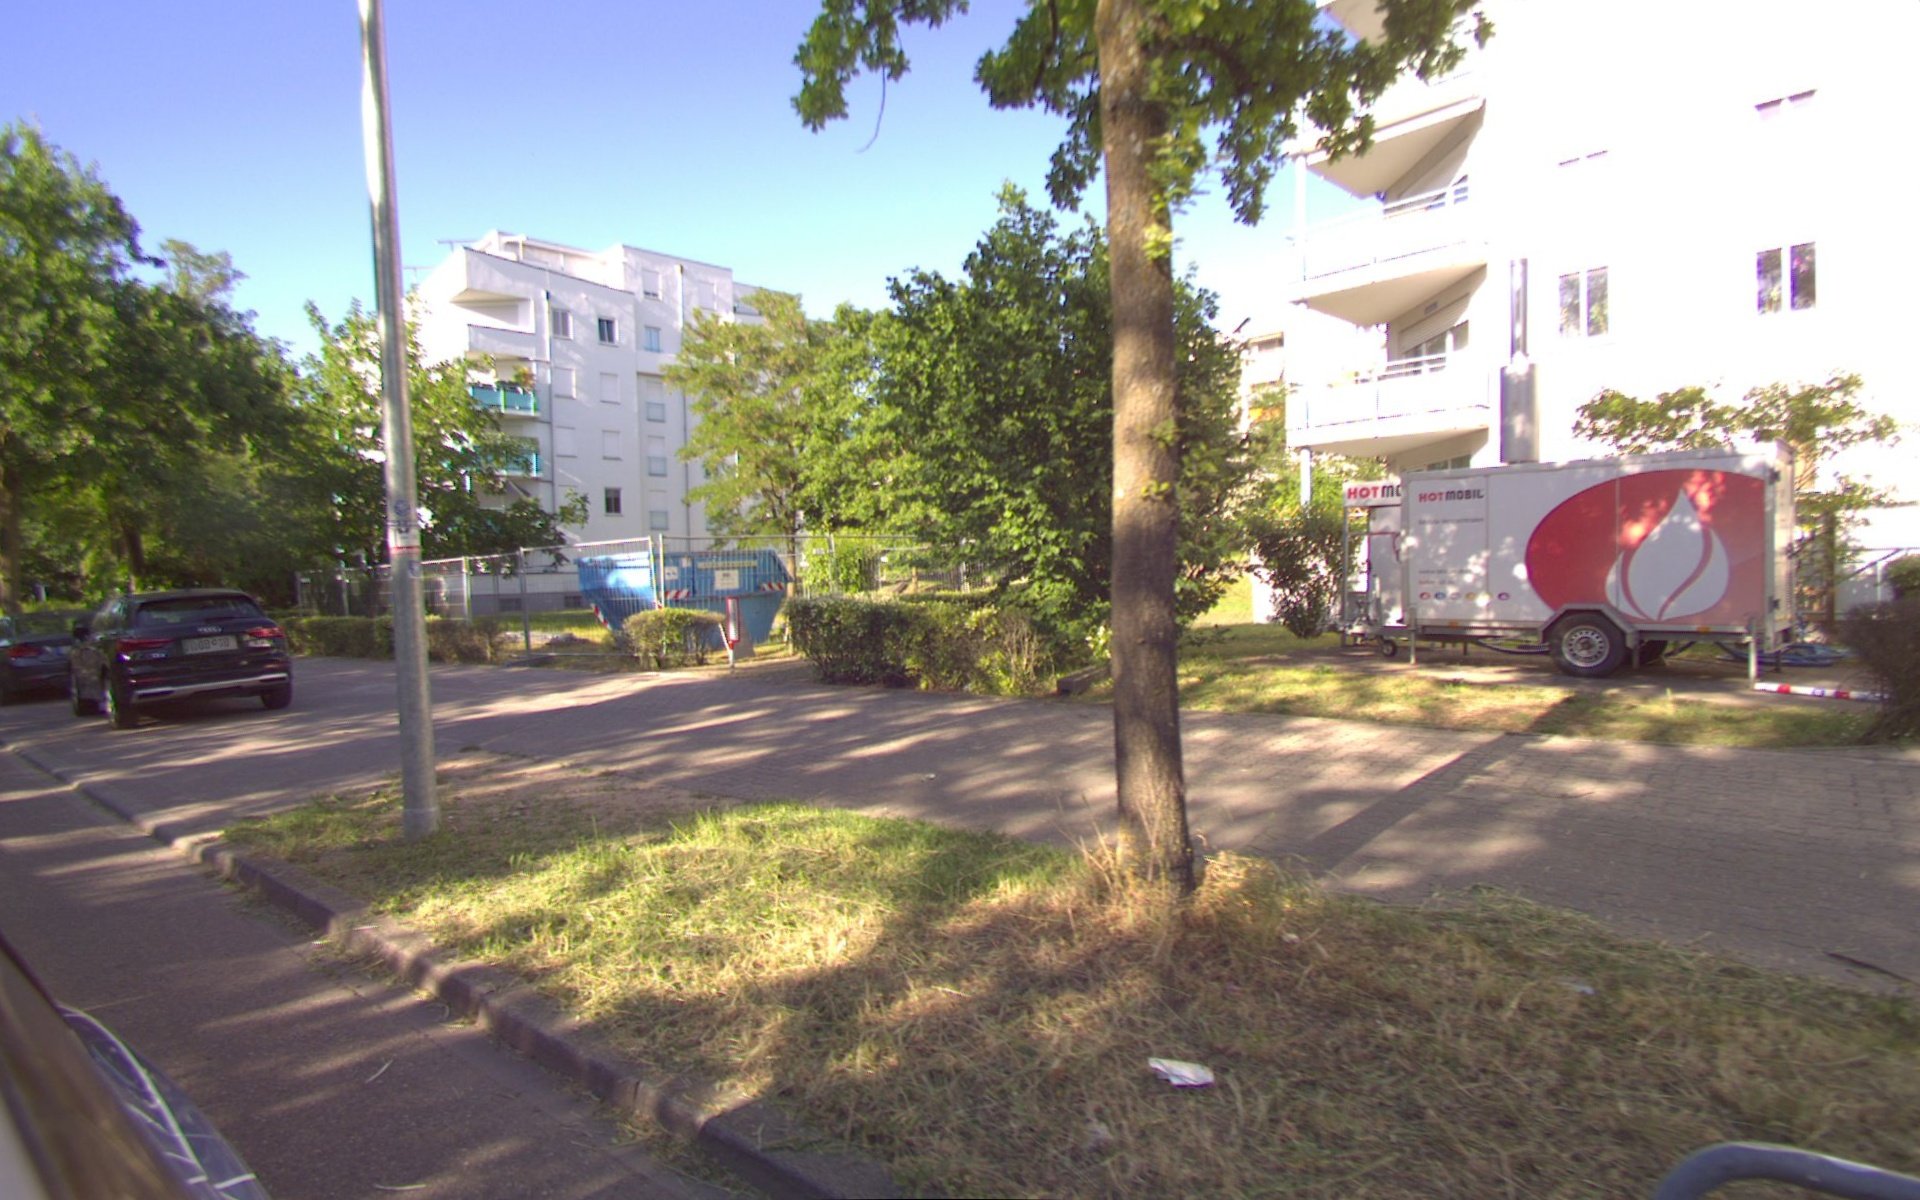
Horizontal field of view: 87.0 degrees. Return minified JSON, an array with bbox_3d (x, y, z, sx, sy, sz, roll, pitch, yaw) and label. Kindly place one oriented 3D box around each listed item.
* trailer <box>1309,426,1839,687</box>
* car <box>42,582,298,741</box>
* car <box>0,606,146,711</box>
[{"bbox_3d":[6.146,-0.388,10.488,4.348,2.135,1.843,-1,3,45],"label":"trailer"},{"bbox_3d":[-10.296,0.695,13.076,4.218,1.633,1.758,-1,3,41],"label":"car"},{"bbox_3d":[-15.408,0.926,17.002,4.131,1.443,1.700,-2,3,38],"label":"car"}]
